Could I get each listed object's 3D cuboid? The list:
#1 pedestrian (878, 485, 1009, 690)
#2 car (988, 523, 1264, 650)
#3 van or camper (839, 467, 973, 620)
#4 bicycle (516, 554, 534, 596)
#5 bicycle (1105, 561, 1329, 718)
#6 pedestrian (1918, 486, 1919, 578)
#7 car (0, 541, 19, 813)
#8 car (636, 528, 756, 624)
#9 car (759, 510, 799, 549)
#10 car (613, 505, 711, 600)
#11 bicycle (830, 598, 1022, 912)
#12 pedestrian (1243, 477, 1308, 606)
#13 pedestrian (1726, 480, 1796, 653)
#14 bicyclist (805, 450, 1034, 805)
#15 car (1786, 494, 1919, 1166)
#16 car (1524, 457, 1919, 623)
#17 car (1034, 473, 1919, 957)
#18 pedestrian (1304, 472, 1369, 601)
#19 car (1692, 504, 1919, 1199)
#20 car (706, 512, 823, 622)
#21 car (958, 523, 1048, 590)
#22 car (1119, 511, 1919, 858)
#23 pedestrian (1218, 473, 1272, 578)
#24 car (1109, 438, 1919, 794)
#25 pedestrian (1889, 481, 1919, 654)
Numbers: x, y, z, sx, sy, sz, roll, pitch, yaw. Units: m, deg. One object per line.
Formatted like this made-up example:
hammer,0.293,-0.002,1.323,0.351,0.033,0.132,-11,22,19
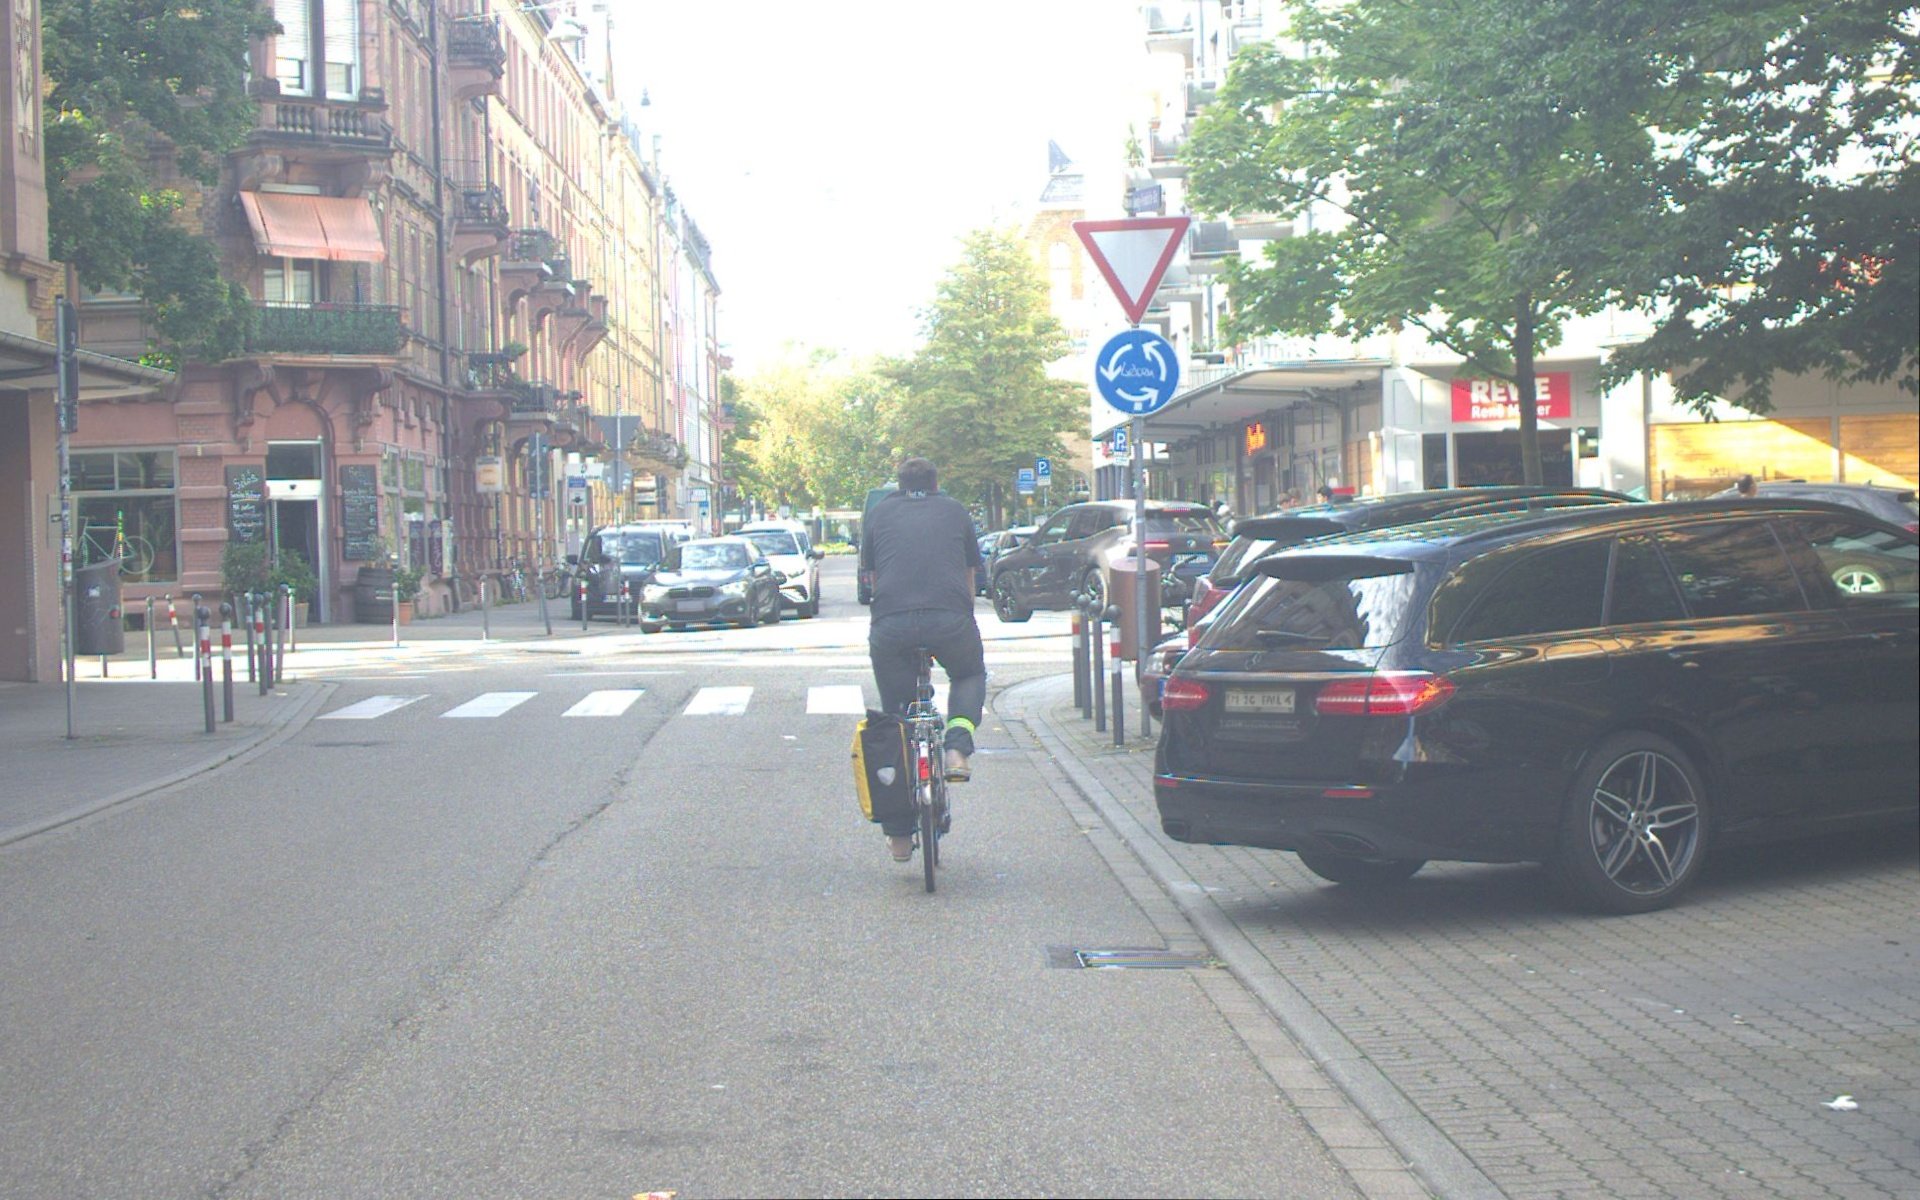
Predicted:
pedestrian,-0.144,-0.115,30.536,0.783,1.773,0.791,-1,2,37
car,2.230,-0.201,47.243,1.993,1.612,4.000,-2,1,-28
van or camper,-1.173,-1.198,72.134,2.531,3.026,4.459,-2,1,-4
bicycle,-10.069,-0.588,79.621,0.360,0.944,1.716,-1,1,-6
bicycle,1.806,0.282,24.456,0.548,1.036,1.857,-6,2,-30
pedestrian,8.065,-0.243,27.176,0.756,1.338,0.597,-2,1,-5
car,-5.946,0.471,16.149,1.993,1.415,4.245,-2,1,-2
car,-4.086,-0.379,53.694,1.750,1.431,4.212,-1,1,-3
car,-9.694,-3.791,184.617,1.993,2.007,4.001,-2,1,-2
car,-6.626,-1.074,76.755,1.993,2.007,4.001,-2,1,-3
bicycle,-0.180,0.606,14.692,0.665,1.174,2.497,0,1,-4
pedestrian,4.598,-0.850,50.134,0.869,1.845,0.612,-2,1,4
pedestrian,8.201,-0.351,35.219,0.629,1.733,0.775,-1,1,11
bicyclist,-0.183,0.106,14.739,0.933,1.478,0.747,0,1,-4
car,3.892,0.405,8.335,3.709,1.480,1.741,-4,3,-39
car,9.324,-0.720,40.535,4.836,1.718,2.040,-2,3,25
car,2.899,0.322,13.859,4.753,1.452,2.057,-5,3,-29
pedestrian,5.484,-0.924,50.068,0.869,1.845,0.612,-2,1,4
car,3.428,0.463,5.445,4.455,1.459,1.879,-5,3,-36
car,-3.509,-0.632,62.474,1.942,1.716,4.850,-3,3,-2
car,0.997,-1.050,81.713,1.993,1.481,4.000,-2,1,0
car,3.213,0.337,17.179,4.400,1.452,1.943,-2,1,-26
pedestrian,4.480,-1.169,54.022,0.745,1.623,0.812,-2,1,10
car,3.241,0.032,19.841,4.340,1.639,1.822,-5,2,-27
pedestrian,7.987,-0.277,27.759,0.756,1.387,0.549,-2,1,-5
